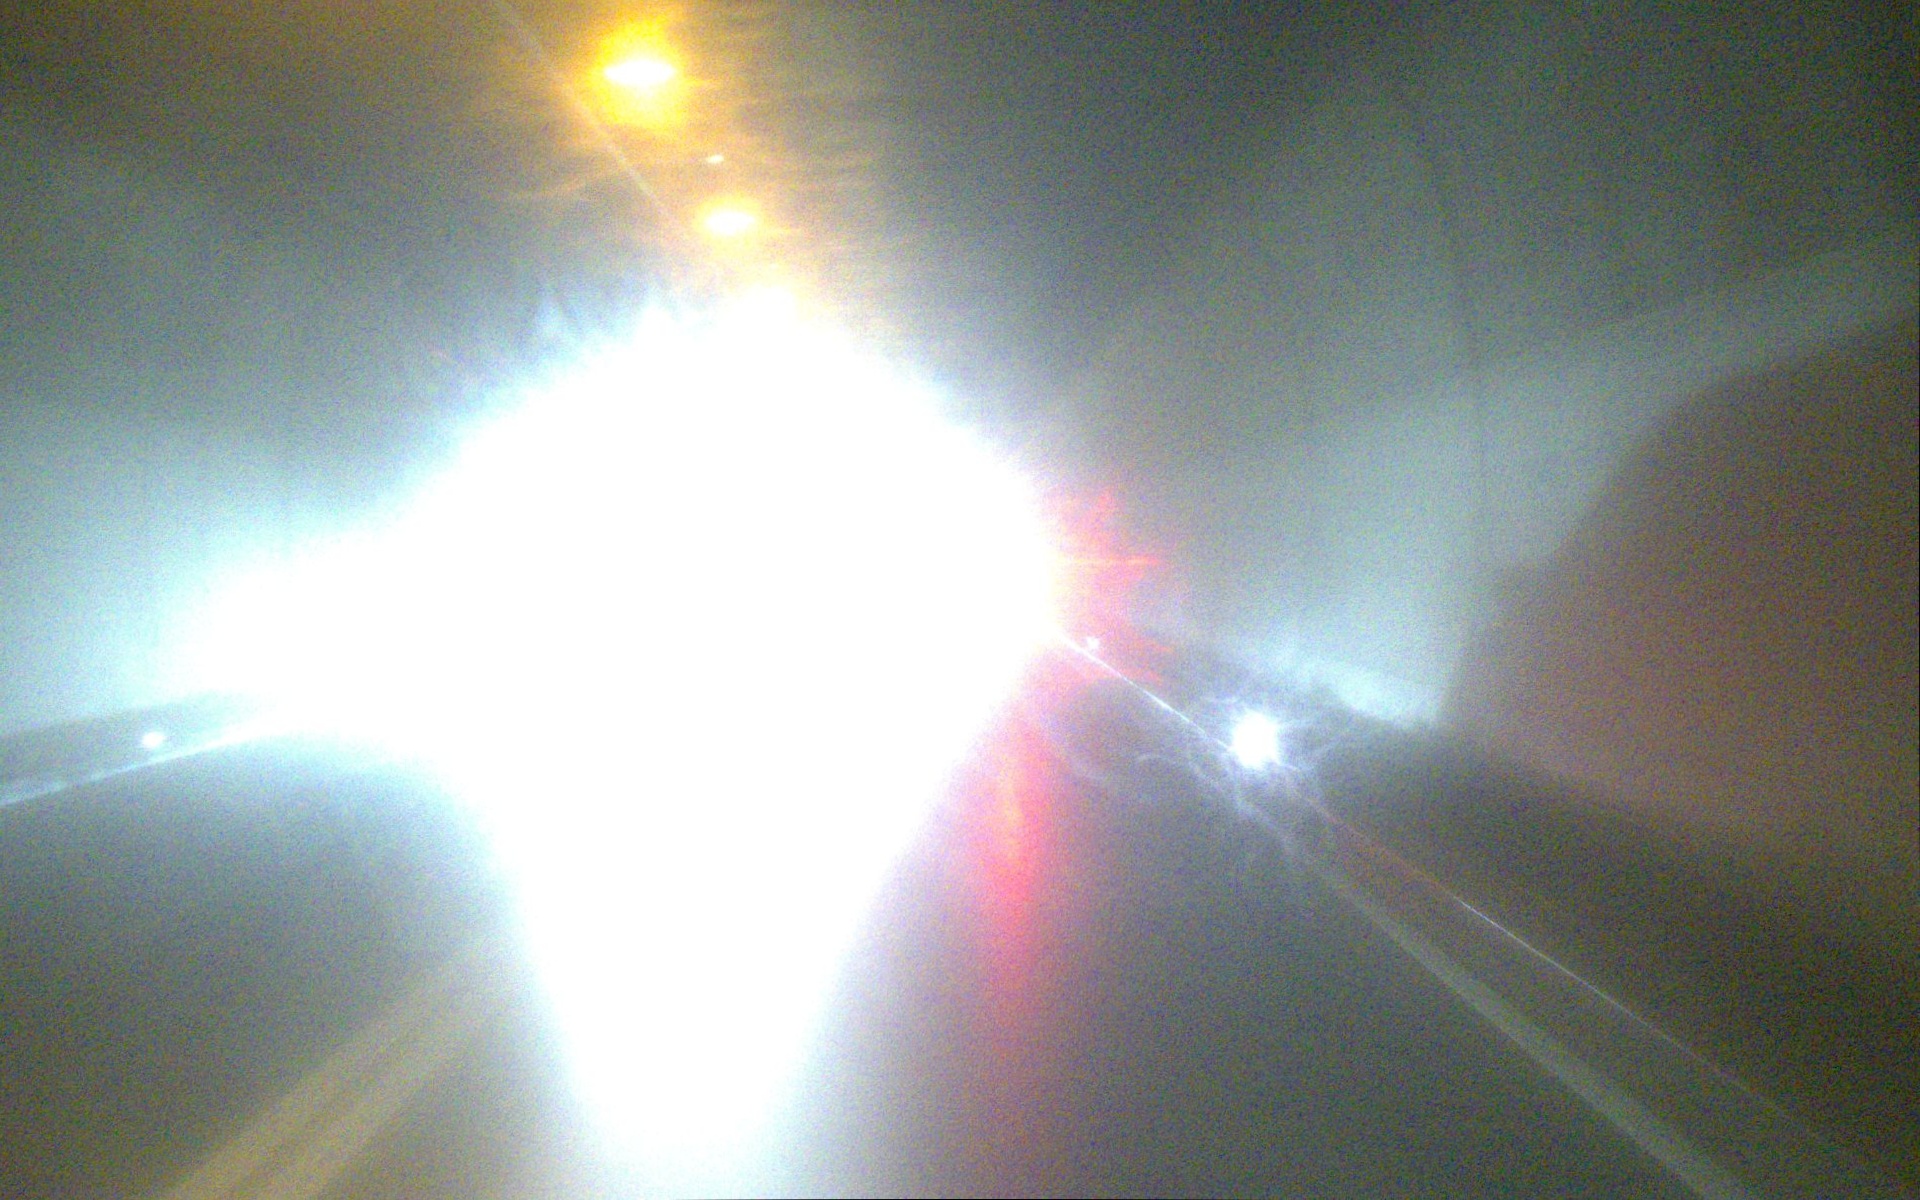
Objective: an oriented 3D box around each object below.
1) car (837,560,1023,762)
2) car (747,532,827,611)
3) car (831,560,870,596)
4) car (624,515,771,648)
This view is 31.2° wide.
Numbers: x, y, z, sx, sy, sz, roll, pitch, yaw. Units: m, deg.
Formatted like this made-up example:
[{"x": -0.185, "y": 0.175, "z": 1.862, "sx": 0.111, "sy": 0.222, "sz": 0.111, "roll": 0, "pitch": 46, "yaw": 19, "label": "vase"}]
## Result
[{"x": -0.267, "y": 0.517, "z": 32.523, "sx": 1.635, "sy": 1.752, "sz": 4.146, "roll": 0, "pitch": 1, "yaw": 0, "label": "car"}, {"x": -4.272, "y": -0.723, "z": 85.366, "sx": 1.761, "sy": 1.893, "sz": 4.608, "roll": 0, "pitch": 1, "yaw": 0, "label": "car"}, {"x": -4.913, "y": -0.991, "z": 154.251, "sx": 1.635, "sy": 1.529, "sz": 3.646, "roll": 0, "pitch": 1, "yaw": 0, "label": "car"}, {"x": -3.902, "y": -0.314, "z": 51.769, "sx": 1.841, "sy": 1.893, "sz": 4.608, "roll": 0, "pitch": 1, "yaw": 0, "label": "car"}]
